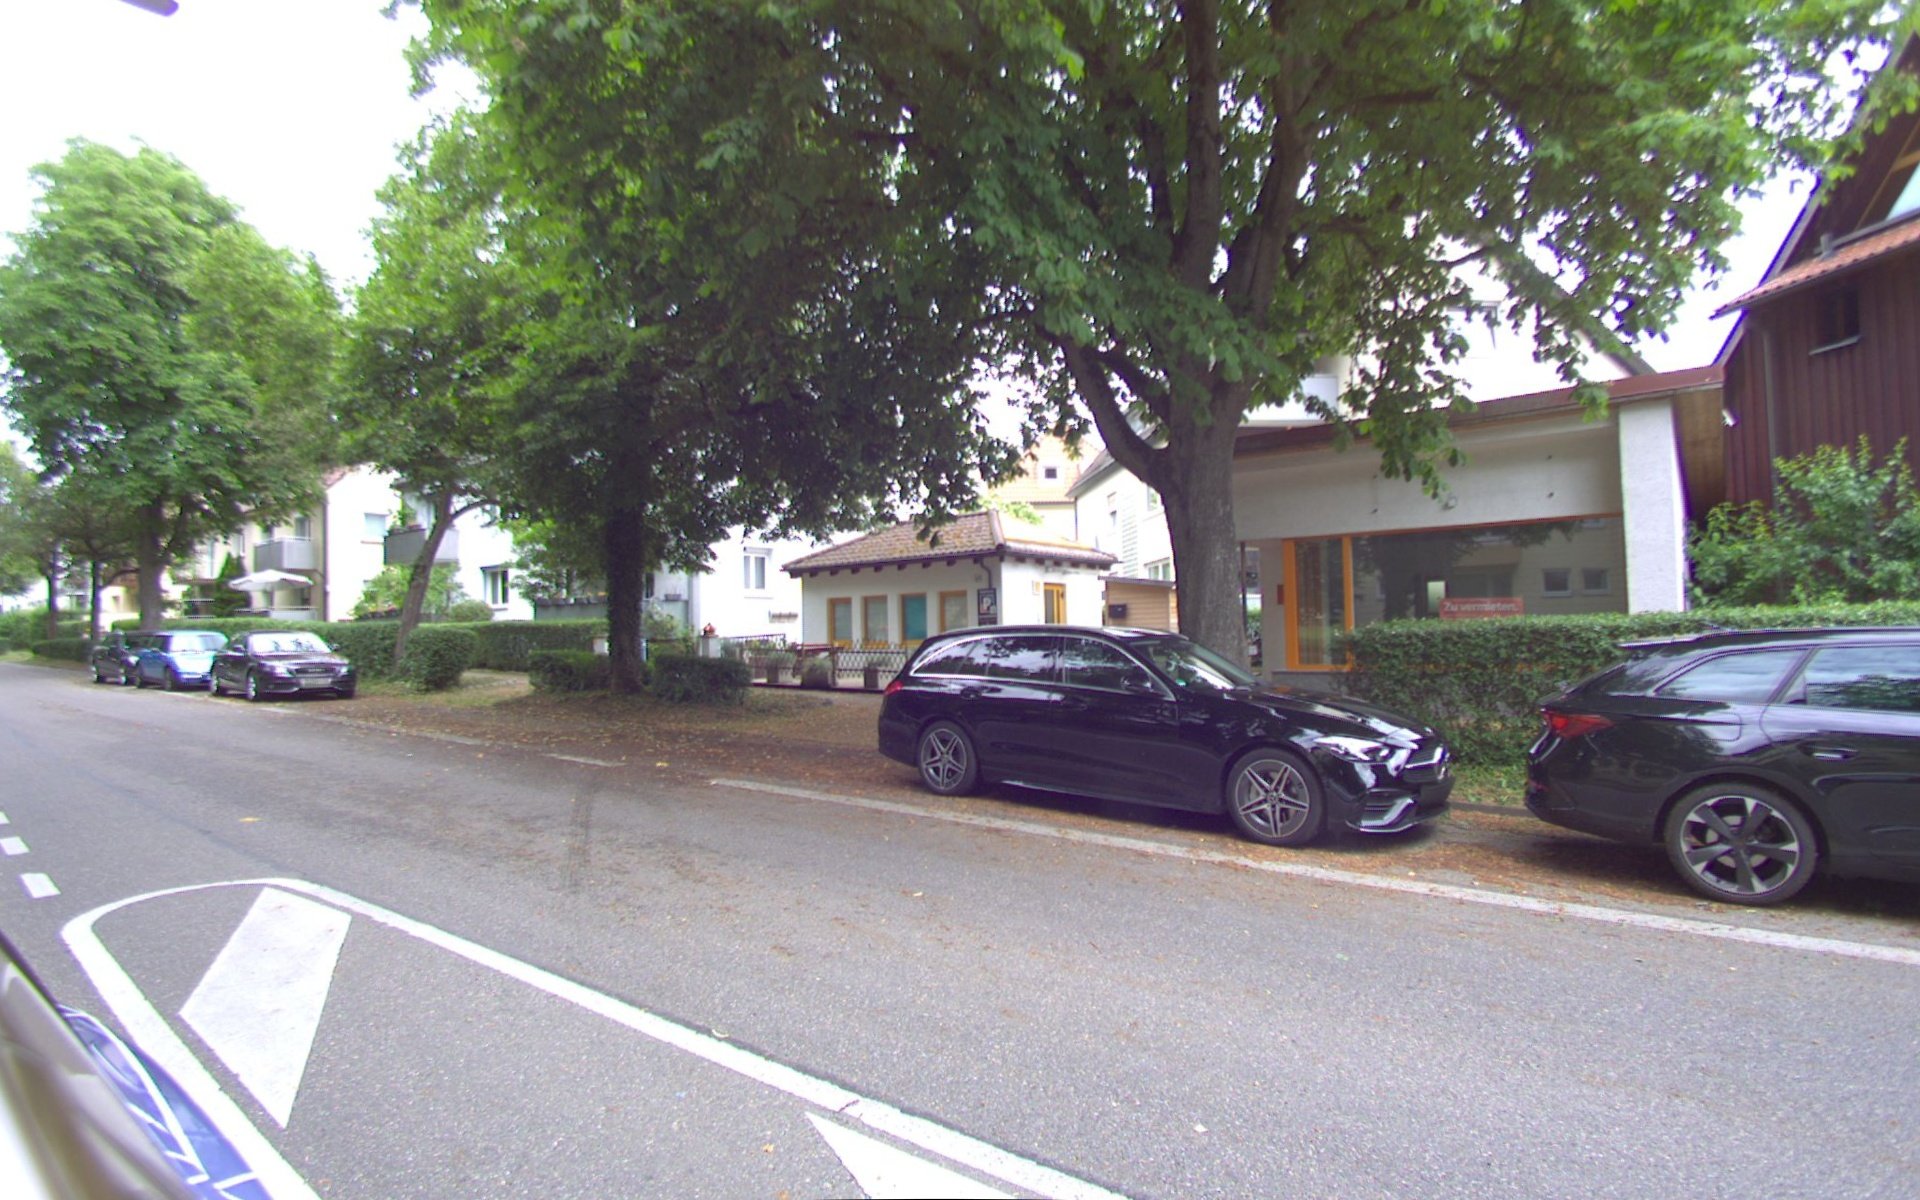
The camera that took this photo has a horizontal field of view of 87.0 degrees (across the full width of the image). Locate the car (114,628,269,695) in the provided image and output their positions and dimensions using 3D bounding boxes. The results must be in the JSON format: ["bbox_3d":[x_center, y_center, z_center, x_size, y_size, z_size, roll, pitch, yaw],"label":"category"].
[{"bbox_3d":[-18.925,1.470,24.857,4.558,1.512,1.866,-2,-3,37],"label":"car"}]

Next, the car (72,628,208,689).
[{"bbox_3d":[-22.613,1.569,27.849,4.558,1.545,1.866,-2,-3,37],"label":"car"}]

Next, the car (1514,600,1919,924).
[{"bbox_3d":[5.442,0.756,4.986,4.536,1.497,1.674,-2,-3,38],"label":"car"}]

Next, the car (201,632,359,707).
[{"bbox_3d":[-14.231,1.383,21.091,4.169,1.414,1.713,-2,-3,41],"label":"car"}]

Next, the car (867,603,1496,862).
[{"bbox_3d":[1.547,0.866,8.198,4.612,1.511,1.973,-2,-3,41],"label":"car"}]
